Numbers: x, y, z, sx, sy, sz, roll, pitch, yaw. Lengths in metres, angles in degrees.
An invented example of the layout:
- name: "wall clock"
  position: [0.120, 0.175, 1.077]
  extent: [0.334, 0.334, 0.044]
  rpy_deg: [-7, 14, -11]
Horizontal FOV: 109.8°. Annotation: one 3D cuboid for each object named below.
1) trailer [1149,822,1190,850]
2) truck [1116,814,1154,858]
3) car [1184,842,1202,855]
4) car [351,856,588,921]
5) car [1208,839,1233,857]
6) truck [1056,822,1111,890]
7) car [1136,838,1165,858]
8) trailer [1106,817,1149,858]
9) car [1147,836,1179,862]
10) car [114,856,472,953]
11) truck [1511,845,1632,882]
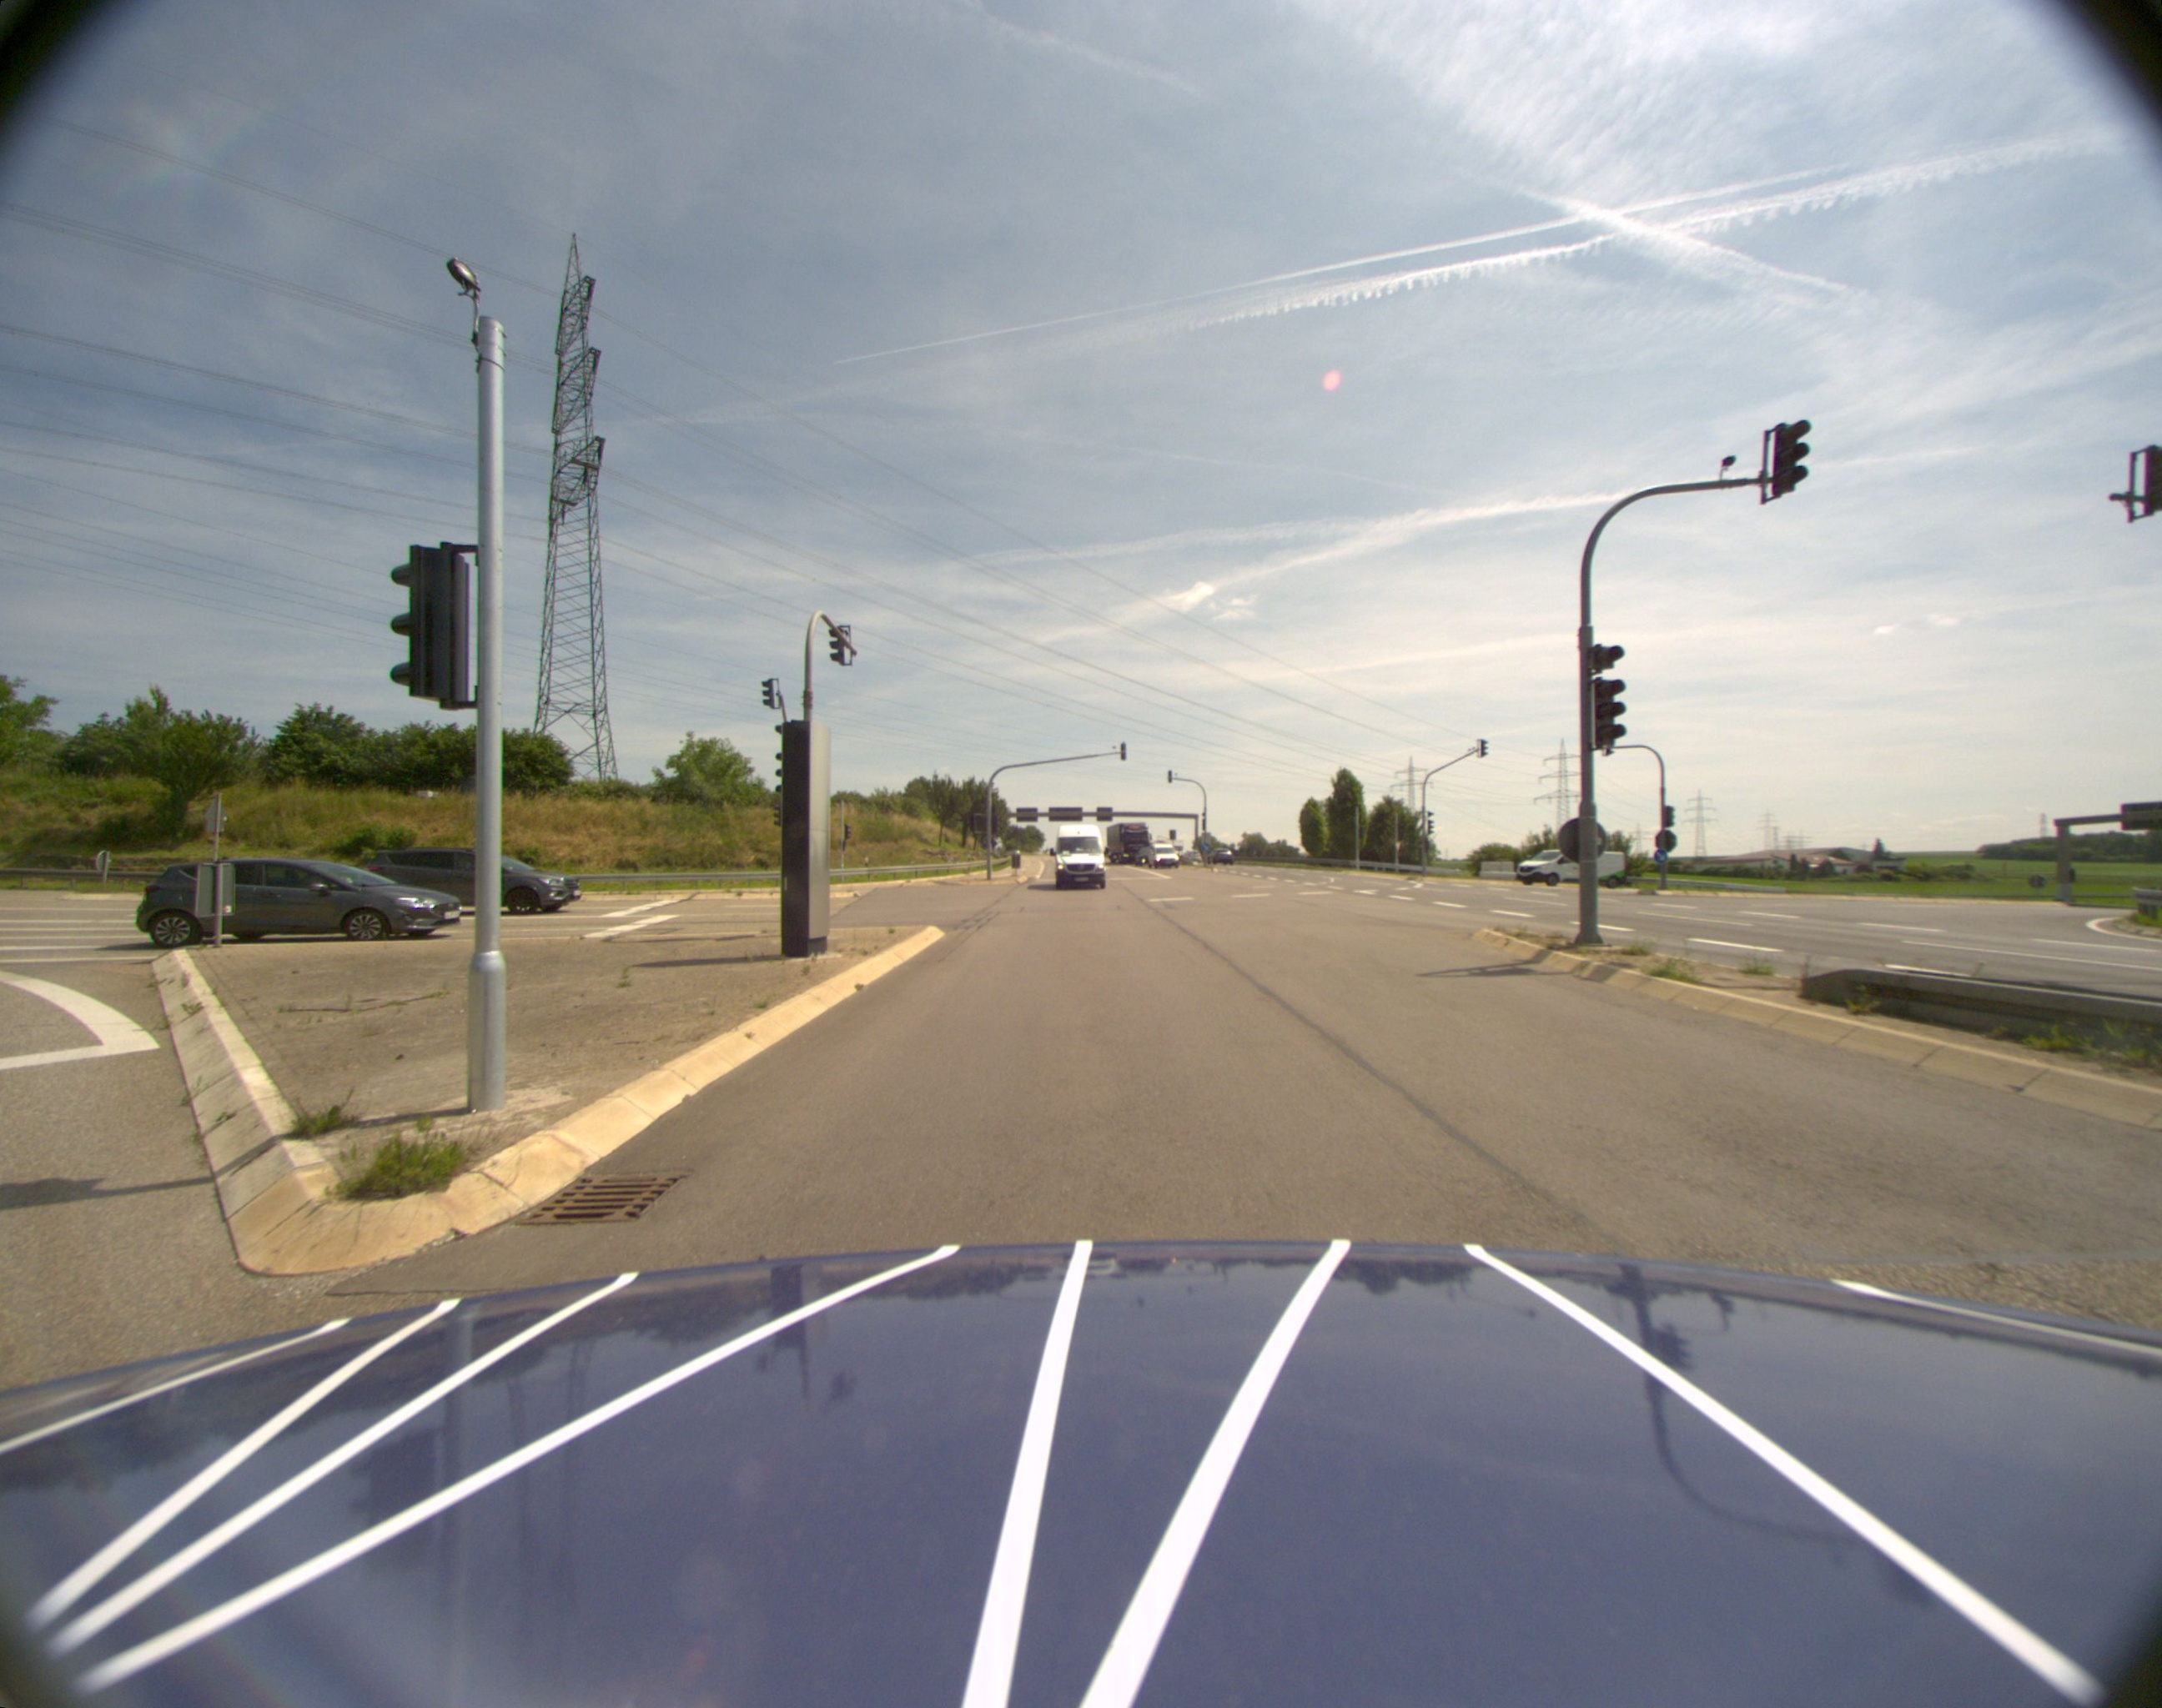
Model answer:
- name: "trailer"
  position: [12.880, -2.712, 112.260]
  extent: [2.646, 3.742, 19.786]
  rpy_deg: [0, 2, -3]
- name: "truck"
  position: [5.122, -1.695, 73.259]
  extent: [2.791, 3.991, 5.967]
  rpy_deg: [-2, 1, -3]
- name: "car"
  position: [13.608, -0.742, 92.389]
  extent: [1.648, 1.488, 3.800]
  rpy_deg: [1, 2, 0]
- name: "car"
  position: [-15.354, 0.827, 19.353]
  extent: [4.375, 1.502, 1.714]
  rpy_deg: [0, 1, -15]
- name: "car"
  position: [13.837, -0.621, 75.595]
  extent: [1.648, 1.614, 4.326]
  rpy_deg: [1, 2, -1]
- name: "truck"
  position: [0.013, 0.015, 31.326]
  extent: [1.999, 2.518, 5.102]
  rpy_deg: [-1, 1, -3]
- name: "car"
  position: [5.900, -0.543, 65.052]
  extent: [1.861, 1.648, 4.346]
  rpy_deg: [-2, 1, -2]
- name: "trailer"
  position: [4.724, -1.761, 80.128]
  extent: [2.791, 3.891, 13.779]
  rpy_deg: [-2, 1, -3]
- name: "car"
  position: [6.145, -0.403, 57.325]
  extent: [1.772, 1.788, 4.750]
  rpy_deg: [-2, 1, -1]
- name: "car"
  position: [-13.449, 0.834, 13.277]
  extent: [4.003, 1.502, 1.713]
  rpy_deg: [1, 0, -16]
- name: "truck"
  position: [25.534, 0.484, 39.600]
  extent: [5.283, 1.747, 1.998]
  rpy_deg: [1, 1, -9]
